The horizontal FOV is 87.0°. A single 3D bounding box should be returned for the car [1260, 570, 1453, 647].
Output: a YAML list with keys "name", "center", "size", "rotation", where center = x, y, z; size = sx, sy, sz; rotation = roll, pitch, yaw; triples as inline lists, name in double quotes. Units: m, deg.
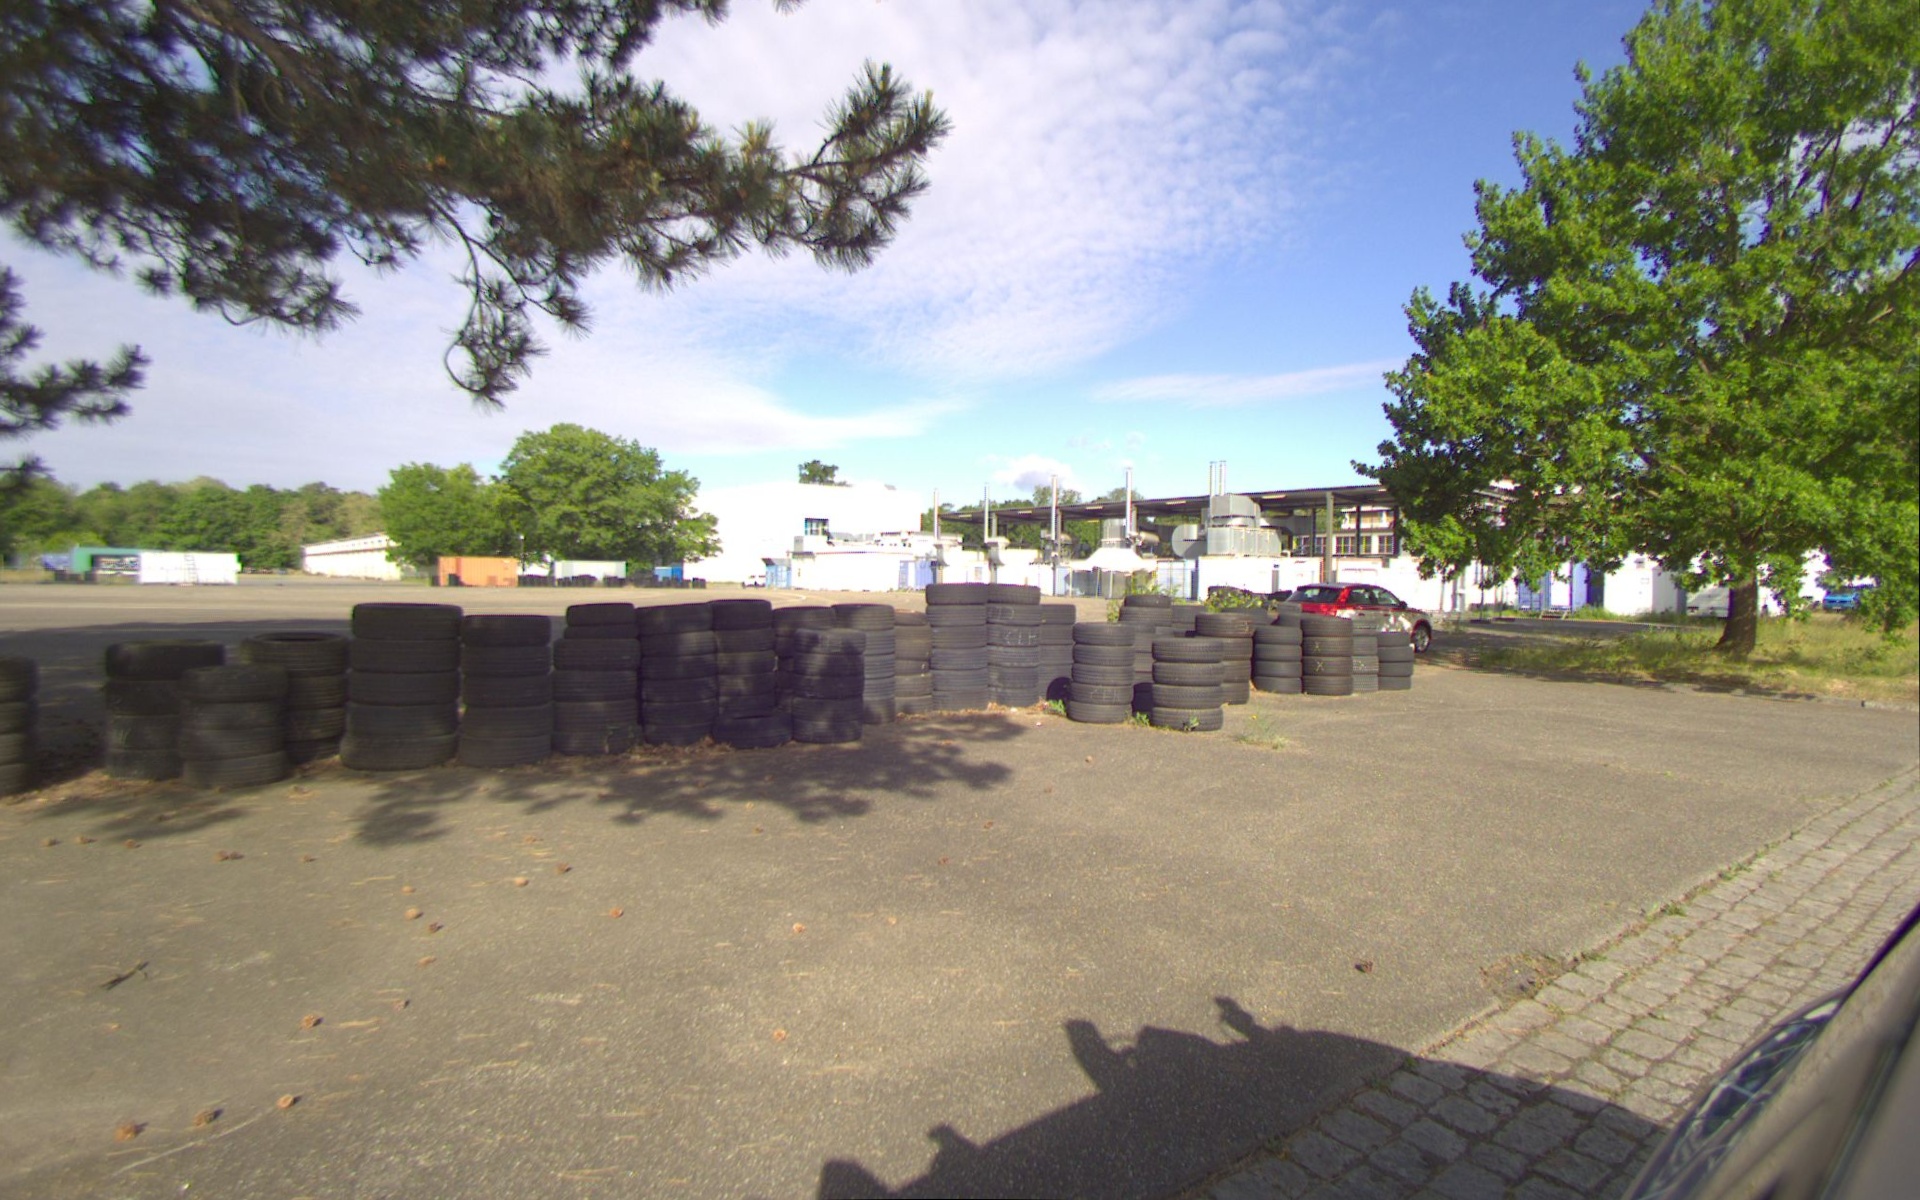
- name: "car"
  center: [8.418, 0.138, 21.428]
  size: [3.922, 1.467, 1.850]
  rotation: [0, 2, -33]
